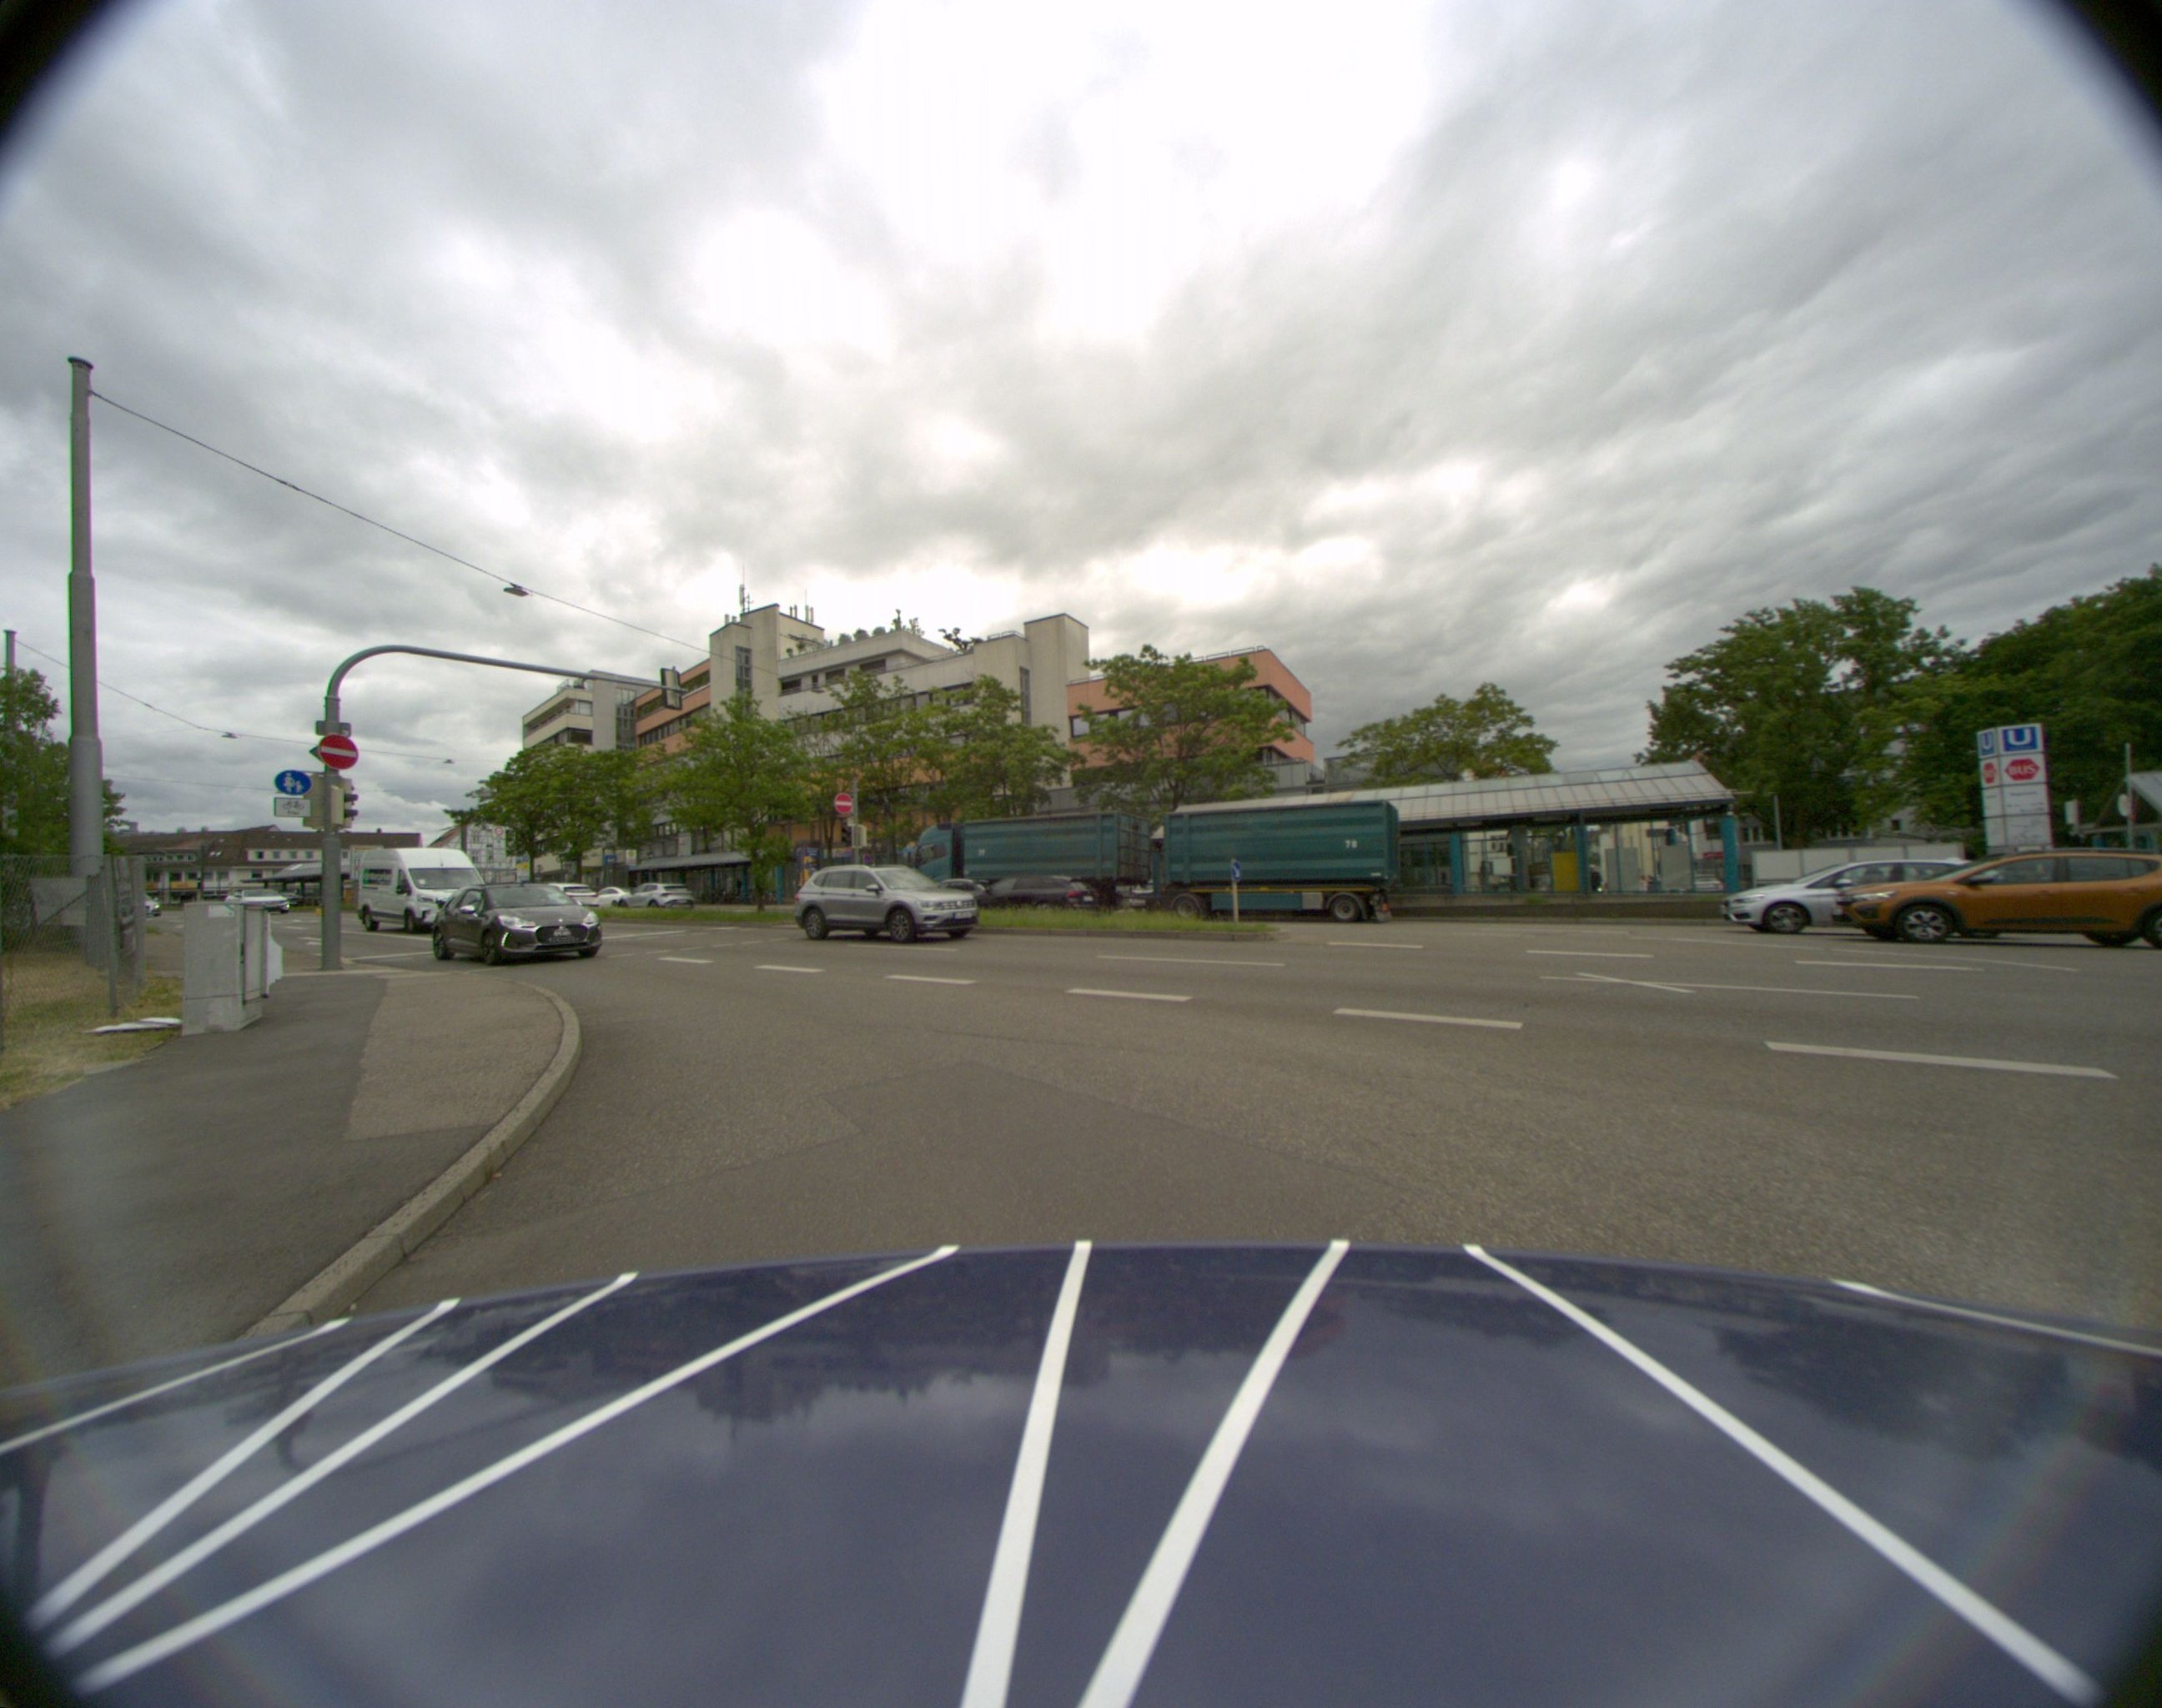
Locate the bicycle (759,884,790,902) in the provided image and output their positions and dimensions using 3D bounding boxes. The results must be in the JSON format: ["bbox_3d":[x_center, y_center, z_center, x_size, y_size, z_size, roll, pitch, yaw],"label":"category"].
[{"bbox_3d":[-20.225,2.577,50.151,0.710,1.146,2.075,-1,-1,18],"label":"bicycle"}]

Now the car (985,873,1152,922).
[{"bbox_3d":[-0.382,1.239,22.146,4.433,1.324,2.004,-2,-2,28],"label":"car"}]

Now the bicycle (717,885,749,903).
[{"bbox_3d":[-23.500,2.671,51.281,0.710,1.146,2.074,-1,0,19],"label":"bicycle"}]

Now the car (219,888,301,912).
[{"bbox_3d":[-48.242,2.682,44.630,3.990,1.367,2.004,-1,-2,23],"label":"car"}]

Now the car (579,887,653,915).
[{"bbox_3d":[-27.610,2.755,45.124,4.495,1.564,1.742,-2,-2,29],"label":"car"}]

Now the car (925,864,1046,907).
[{"bbox_3d":[-3.459,1.153,27.371,3.989,1.408,1.808,-2,-5,29],"label":"car"}]

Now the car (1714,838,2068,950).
[{"bbox_3d":[16.172,0.782,15.616,4.557,2.001,2.004,-2,-1,30],"label":"car"}]

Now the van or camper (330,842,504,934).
[{"bbox_3d":[-21.821,1.174,24.850,6.977,2.689,2.286,-3,-3,31],"label":"van or camper"}]

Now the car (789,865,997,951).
[{"bbox_3d":[-4.234,1.152,16.898,4.382,1.640,2.004,-3,-1,34],"label":"car"}]

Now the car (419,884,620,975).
[{"bbox_3d":[-10.805,1.382,14.570,3.990,1.515,1.869,-3,-3,34],"label":"car"}]

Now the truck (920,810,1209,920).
[{"bbox_3d":[-0.925,0.495,29.892,11.250,3.705,3.386,-1,-1,31],"label":"truck"}]

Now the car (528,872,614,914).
[{"bbox_3d":[-25.193,1.907,37.499,4.168,2.001,2.005,-2,-2,32],"label":"car"}]

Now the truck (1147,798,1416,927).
[{"bbox_3d":[6.557,0.376,25.329,8.005,3.704,3.387,-1,-2,32],"label":"truck"}]

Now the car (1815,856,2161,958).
[{"bbox_3d":[15.318,0.837,12.701,3.989,1.506,2.004,-2,-2,31],"label":"car"}]

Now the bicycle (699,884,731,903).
[{"bbox_3d":[-25.272,2.734,52.504,0.710,1.147,2.074,-1,1,19],"label":"bicycle"}]

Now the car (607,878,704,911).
[{"bbox_3d":[-21.463,2.042,38.257,5.255,1.575,1.775,-2,-3,30],"label":"car"}]

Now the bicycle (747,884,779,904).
[{"bbox_3d":[-21.141,2.644,50.520,0.710,1.147,2.074,-1,2,19],"label":"bicycle"}]
